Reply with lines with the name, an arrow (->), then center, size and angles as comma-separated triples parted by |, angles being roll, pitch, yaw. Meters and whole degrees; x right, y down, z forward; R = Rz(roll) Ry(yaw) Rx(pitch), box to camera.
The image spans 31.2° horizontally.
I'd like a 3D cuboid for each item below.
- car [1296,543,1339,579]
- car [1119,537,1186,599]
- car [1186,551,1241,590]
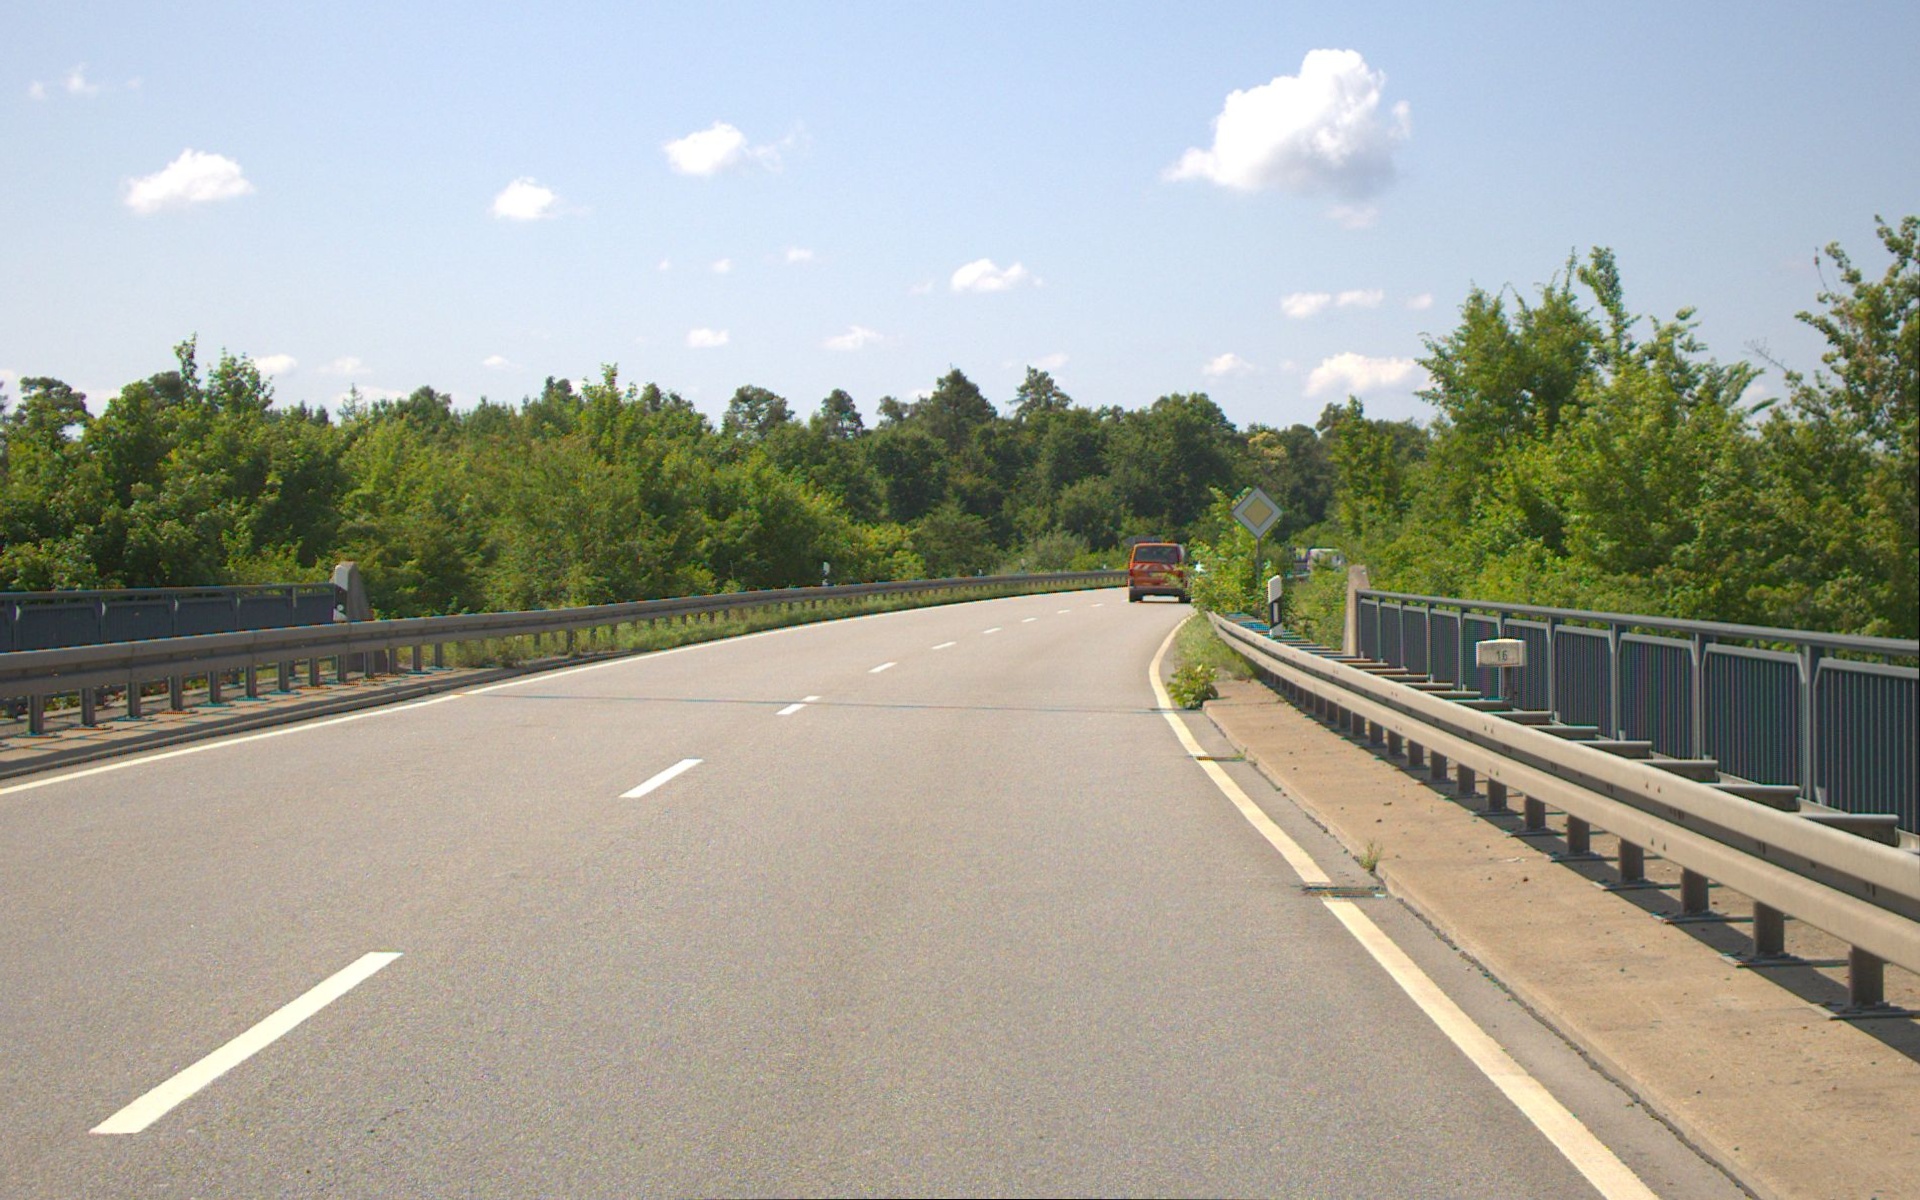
car -> 20.232, -2.237, 194.775 | 2.185, 1.948, 5.803 | 2, 1, 4
car -> 6.347, -1.056, 113.908 | 2.077, 1.986, 5.111 | 1, 0, 2
car -> 10.004, -1.159, 135.937 | 2.007, 1.488, 4.238 | 1, 0, 2
